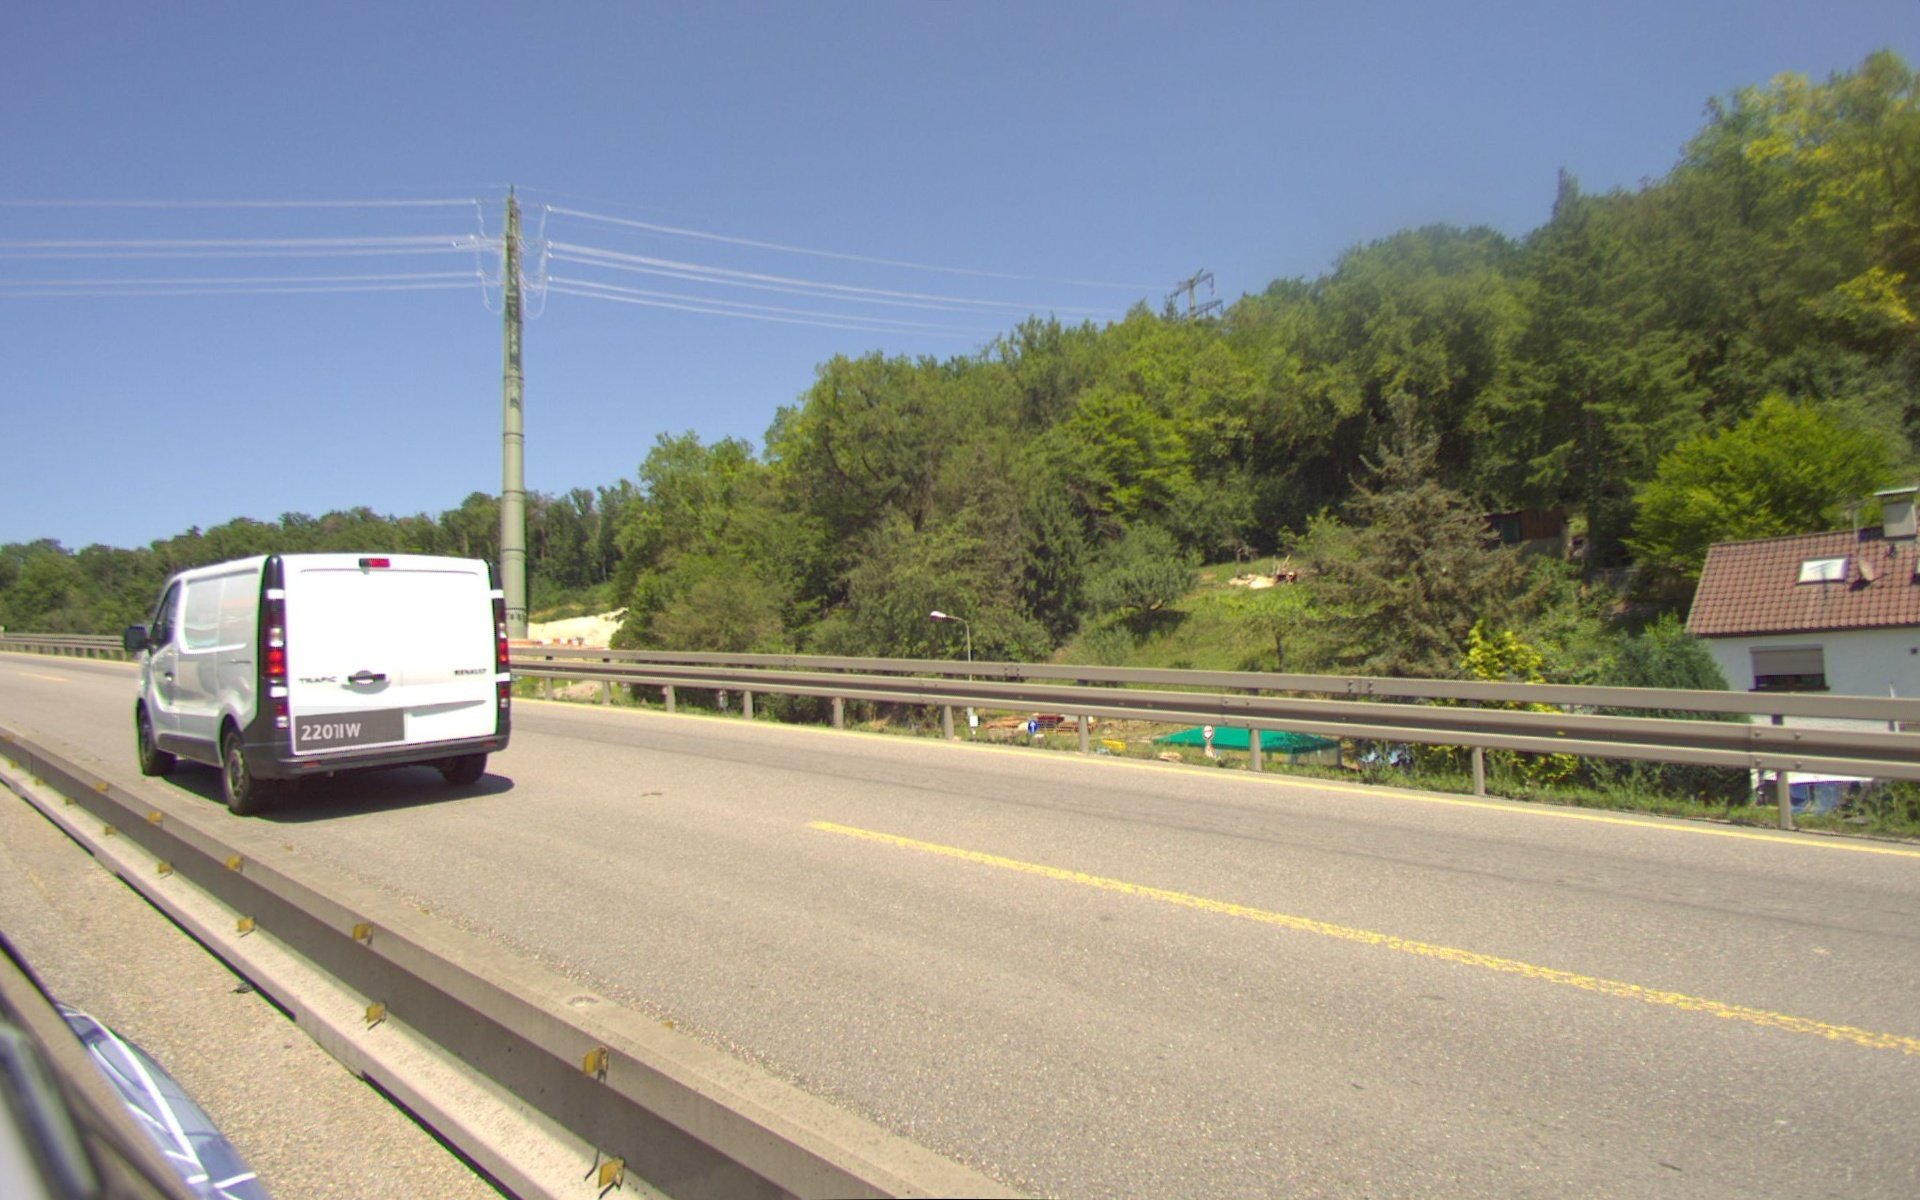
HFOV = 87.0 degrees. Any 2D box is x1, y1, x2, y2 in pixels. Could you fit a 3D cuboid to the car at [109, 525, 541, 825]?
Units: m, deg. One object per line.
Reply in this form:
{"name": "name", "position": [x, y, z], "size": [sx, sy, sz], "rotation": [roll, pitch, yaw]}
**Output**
{"name": "car", "position": [-5.939, 0.546, 9.190], "size": [4.855, 2.026, 1.973], "rotation": [-1, -2, 41]}
